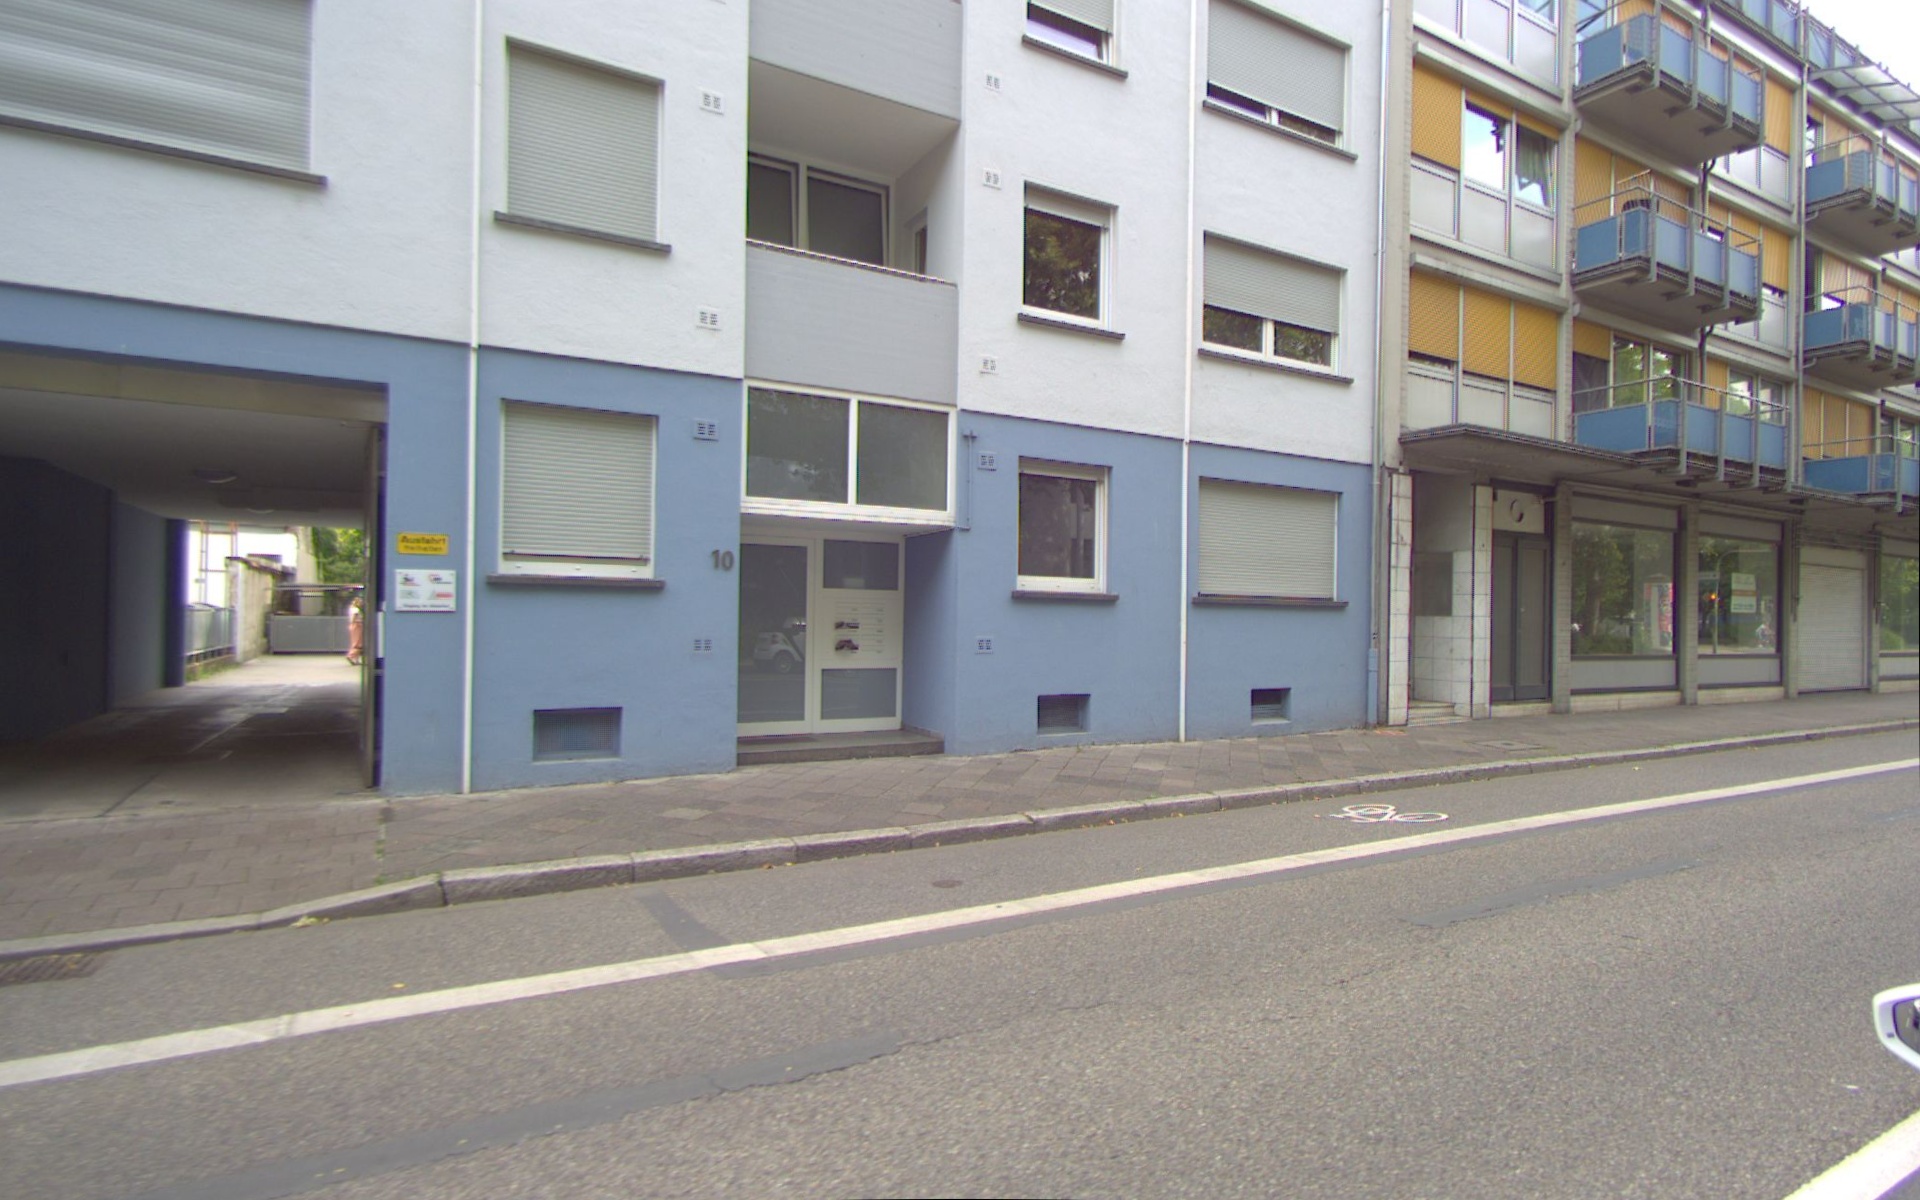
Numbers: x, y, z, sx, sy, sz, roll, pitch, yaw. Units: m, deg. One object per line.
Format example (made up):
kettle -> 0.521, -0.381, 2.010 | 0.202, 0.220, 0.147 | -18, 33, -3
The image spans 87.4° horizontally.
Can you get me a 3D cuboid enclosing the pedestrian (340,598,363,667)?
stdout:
pedestrian -> -15.852, 0.842, 26.174 | 0.474, 1.788, 0.372 | 1, -1, -30
